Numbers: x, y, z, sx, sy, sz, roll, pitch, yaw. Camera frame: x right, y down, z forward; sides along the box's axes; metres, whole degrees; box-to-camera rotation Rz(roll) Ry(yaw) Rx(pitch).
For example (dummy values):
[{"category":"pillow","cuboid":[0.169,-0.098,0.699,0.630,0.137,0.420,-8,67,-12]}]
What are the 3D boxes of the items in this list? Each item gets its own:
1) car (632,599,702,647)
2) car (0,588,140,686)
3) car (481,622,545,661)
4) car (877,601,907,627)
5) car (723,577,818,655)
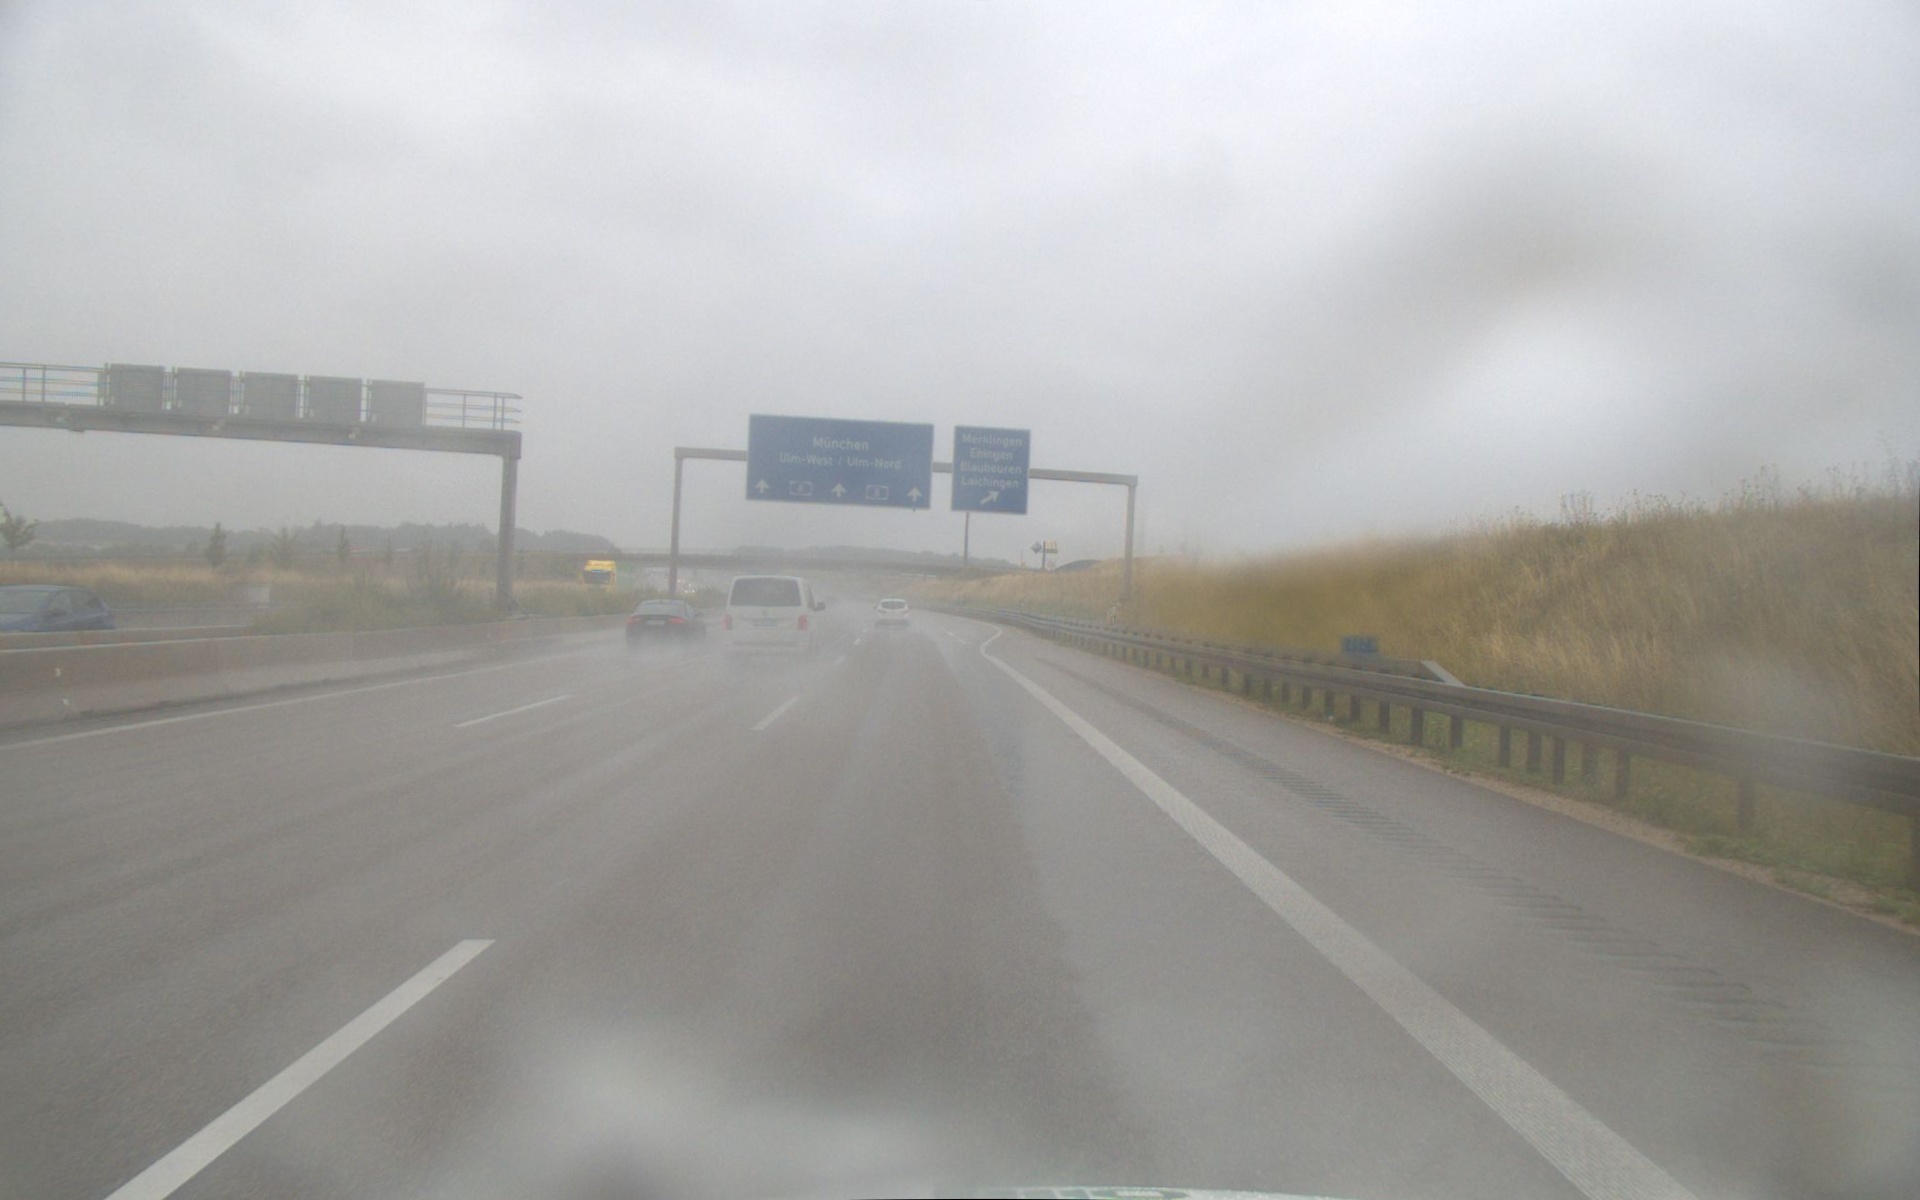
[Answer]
[{"category":"car","cuboid":[-8.063,0.616,45.673,1.438,1.279,3.338,0,0,-2]},{"category":"car","cuboid":[-16.223,0.593,28.971,1.783,1.601,4.084,1,0,-2]},{"category":"car","cuboid":[-21.106,1.955,78.248,1.953,1.713,4.442,1,0,-2]},{"category":"car","cuboid":[-3.335,0.685,81.307,1.438,1.229,2.989,1,0,-3]},{"category":"car","cuboid":[-4.133,0.344,36.568,1.859,1.613,3.997,0,0,-3]}]
